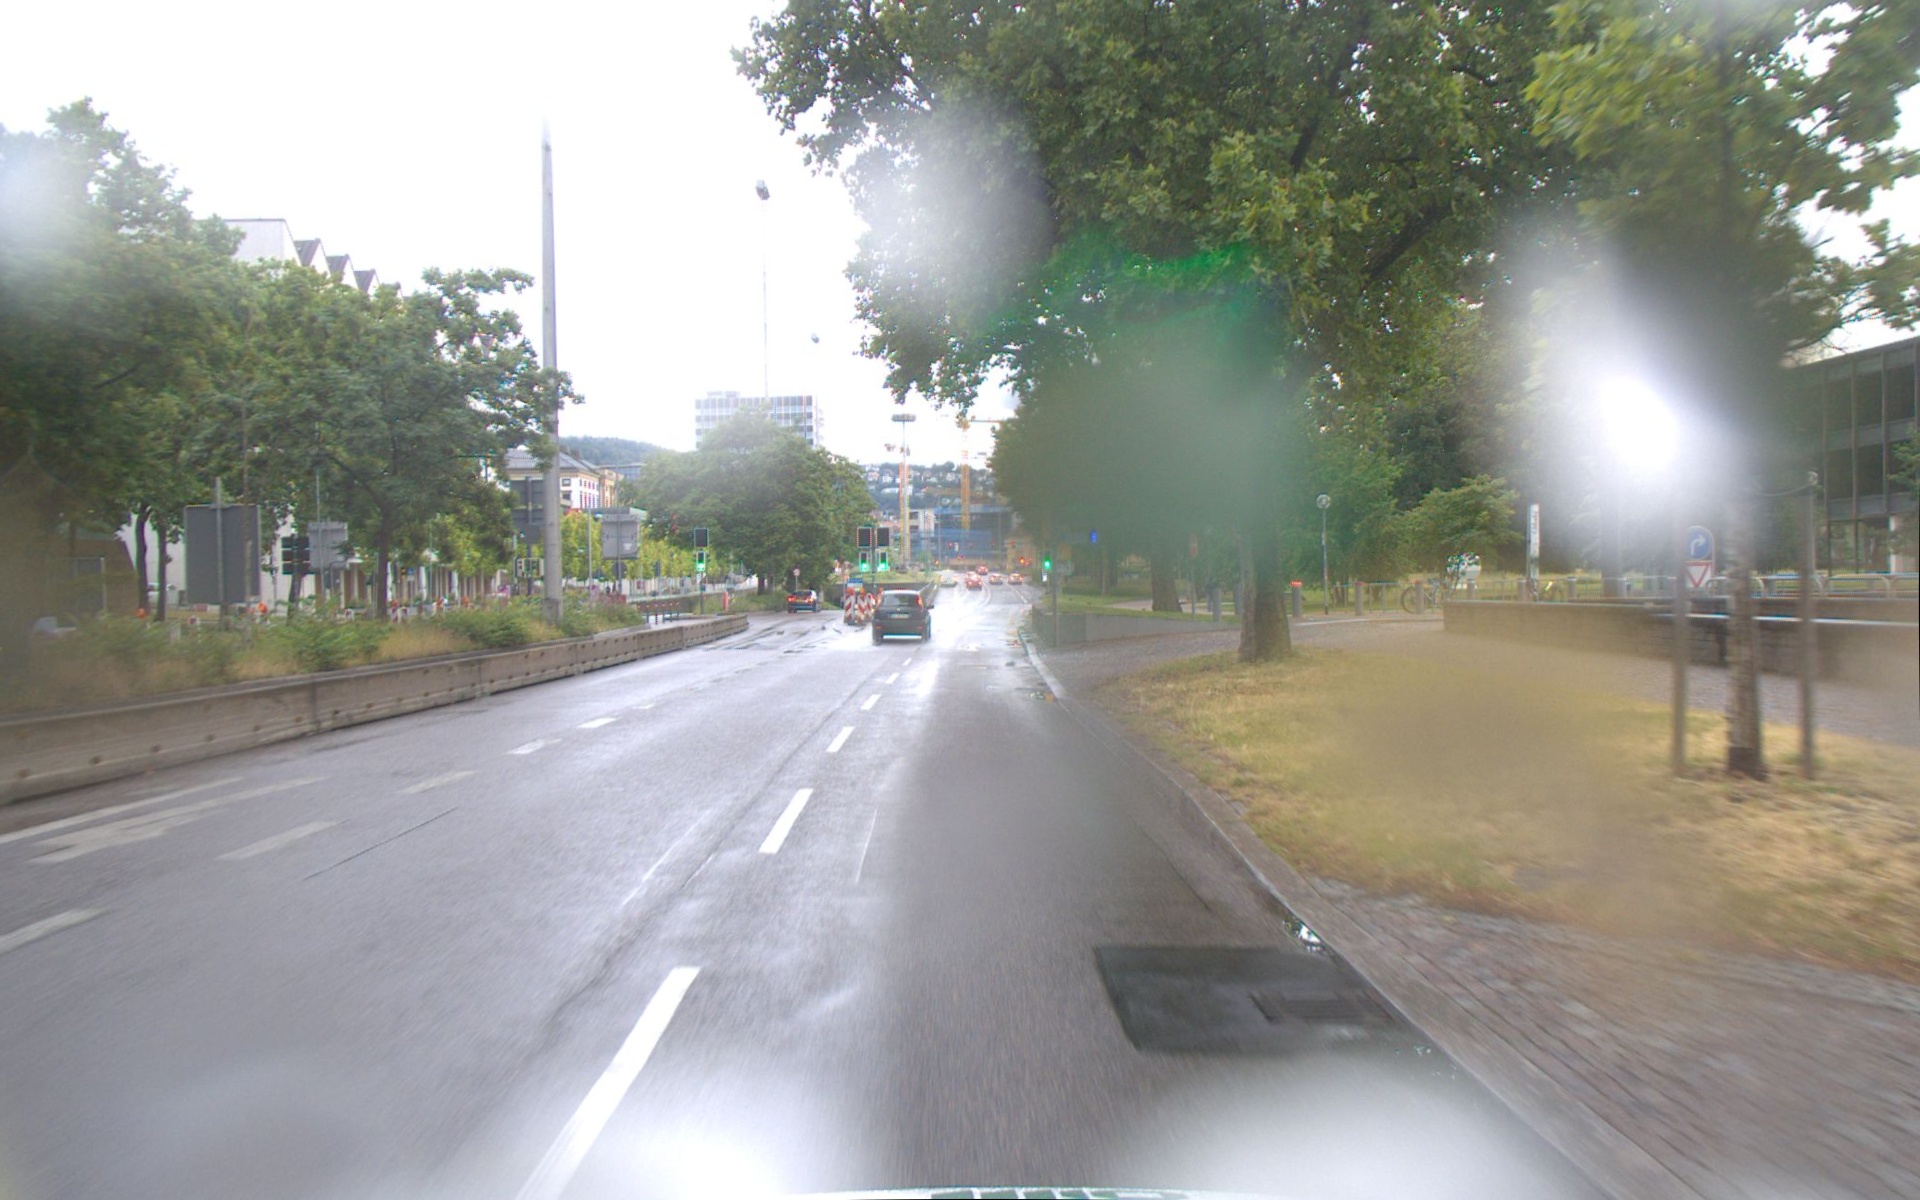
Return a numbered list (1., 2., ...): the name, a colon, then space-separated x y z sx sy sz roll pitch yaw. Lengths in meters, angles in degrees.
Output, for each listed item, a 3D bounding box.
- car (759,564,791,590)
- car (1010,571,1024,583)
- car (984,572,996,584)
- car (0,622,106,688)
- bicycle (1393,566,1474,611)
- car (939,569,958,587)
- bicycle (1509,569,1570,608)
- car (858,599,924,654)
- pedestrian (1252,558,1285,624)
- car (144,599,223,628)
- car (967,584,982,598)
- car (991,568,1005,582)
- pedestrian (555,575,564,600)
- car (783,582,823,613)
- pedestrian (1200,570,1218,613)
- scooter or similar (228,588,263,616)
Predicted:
1. car: -12.261 -1.507 109.918 1.954 1.660 3.997 -1 1 -5
2. car: 8.741 -3.492 253.655 1.952 1.627 4.002 -3 0 3
3. car: 4.606 -3.381 256.871 1.677 1.719 3.851 -3 0 3
4. car: -24.438 1.437 43.322 1.953 1.556 4.000 -3 0 0
5. bicycle: 13.452 -0.340 47.035 1.998 1.194 0.958 -2 2 -11
6. car: -1.613 -3.148 234.417 2.173 2.047 4.006 3 6 6
7. bicycle: 17.744 -0.362 50.654 1.609 1.104 0.709 -2 2 -6
8. car: -2.056 0.740 48.648 1.807 1.441 3.837 -3 0 -3
9. pedestrian: 8.396 -0.261 45.079 0.691 1.748 0.692 -3 1 0
10. car: -48.155 0.834 102.627 3.907 1.623 1.999 -2 1 -3
11. car: 1.924 -1.177 218.569 1.703 1.802 4.001 -3 0 2
12. car: 5.759 -3.732 250.713 1.946 2.049 4.000 -1 0 0
13. pedestrian: -33.430 -1.077 137.958 0.535 2.048 0.524 -3 1 -35
14. car: -9.791 -0.172 103.258 1.952 1.811 4.001 -2 1 1
15. pedestrian: 10.650 -0.364 70.704 0.582 1.786 0.725 -3 2 -2
16. scooter or similar: -37.859 0.110 87.678 0.697 1.375 1.675 -3 0 20
